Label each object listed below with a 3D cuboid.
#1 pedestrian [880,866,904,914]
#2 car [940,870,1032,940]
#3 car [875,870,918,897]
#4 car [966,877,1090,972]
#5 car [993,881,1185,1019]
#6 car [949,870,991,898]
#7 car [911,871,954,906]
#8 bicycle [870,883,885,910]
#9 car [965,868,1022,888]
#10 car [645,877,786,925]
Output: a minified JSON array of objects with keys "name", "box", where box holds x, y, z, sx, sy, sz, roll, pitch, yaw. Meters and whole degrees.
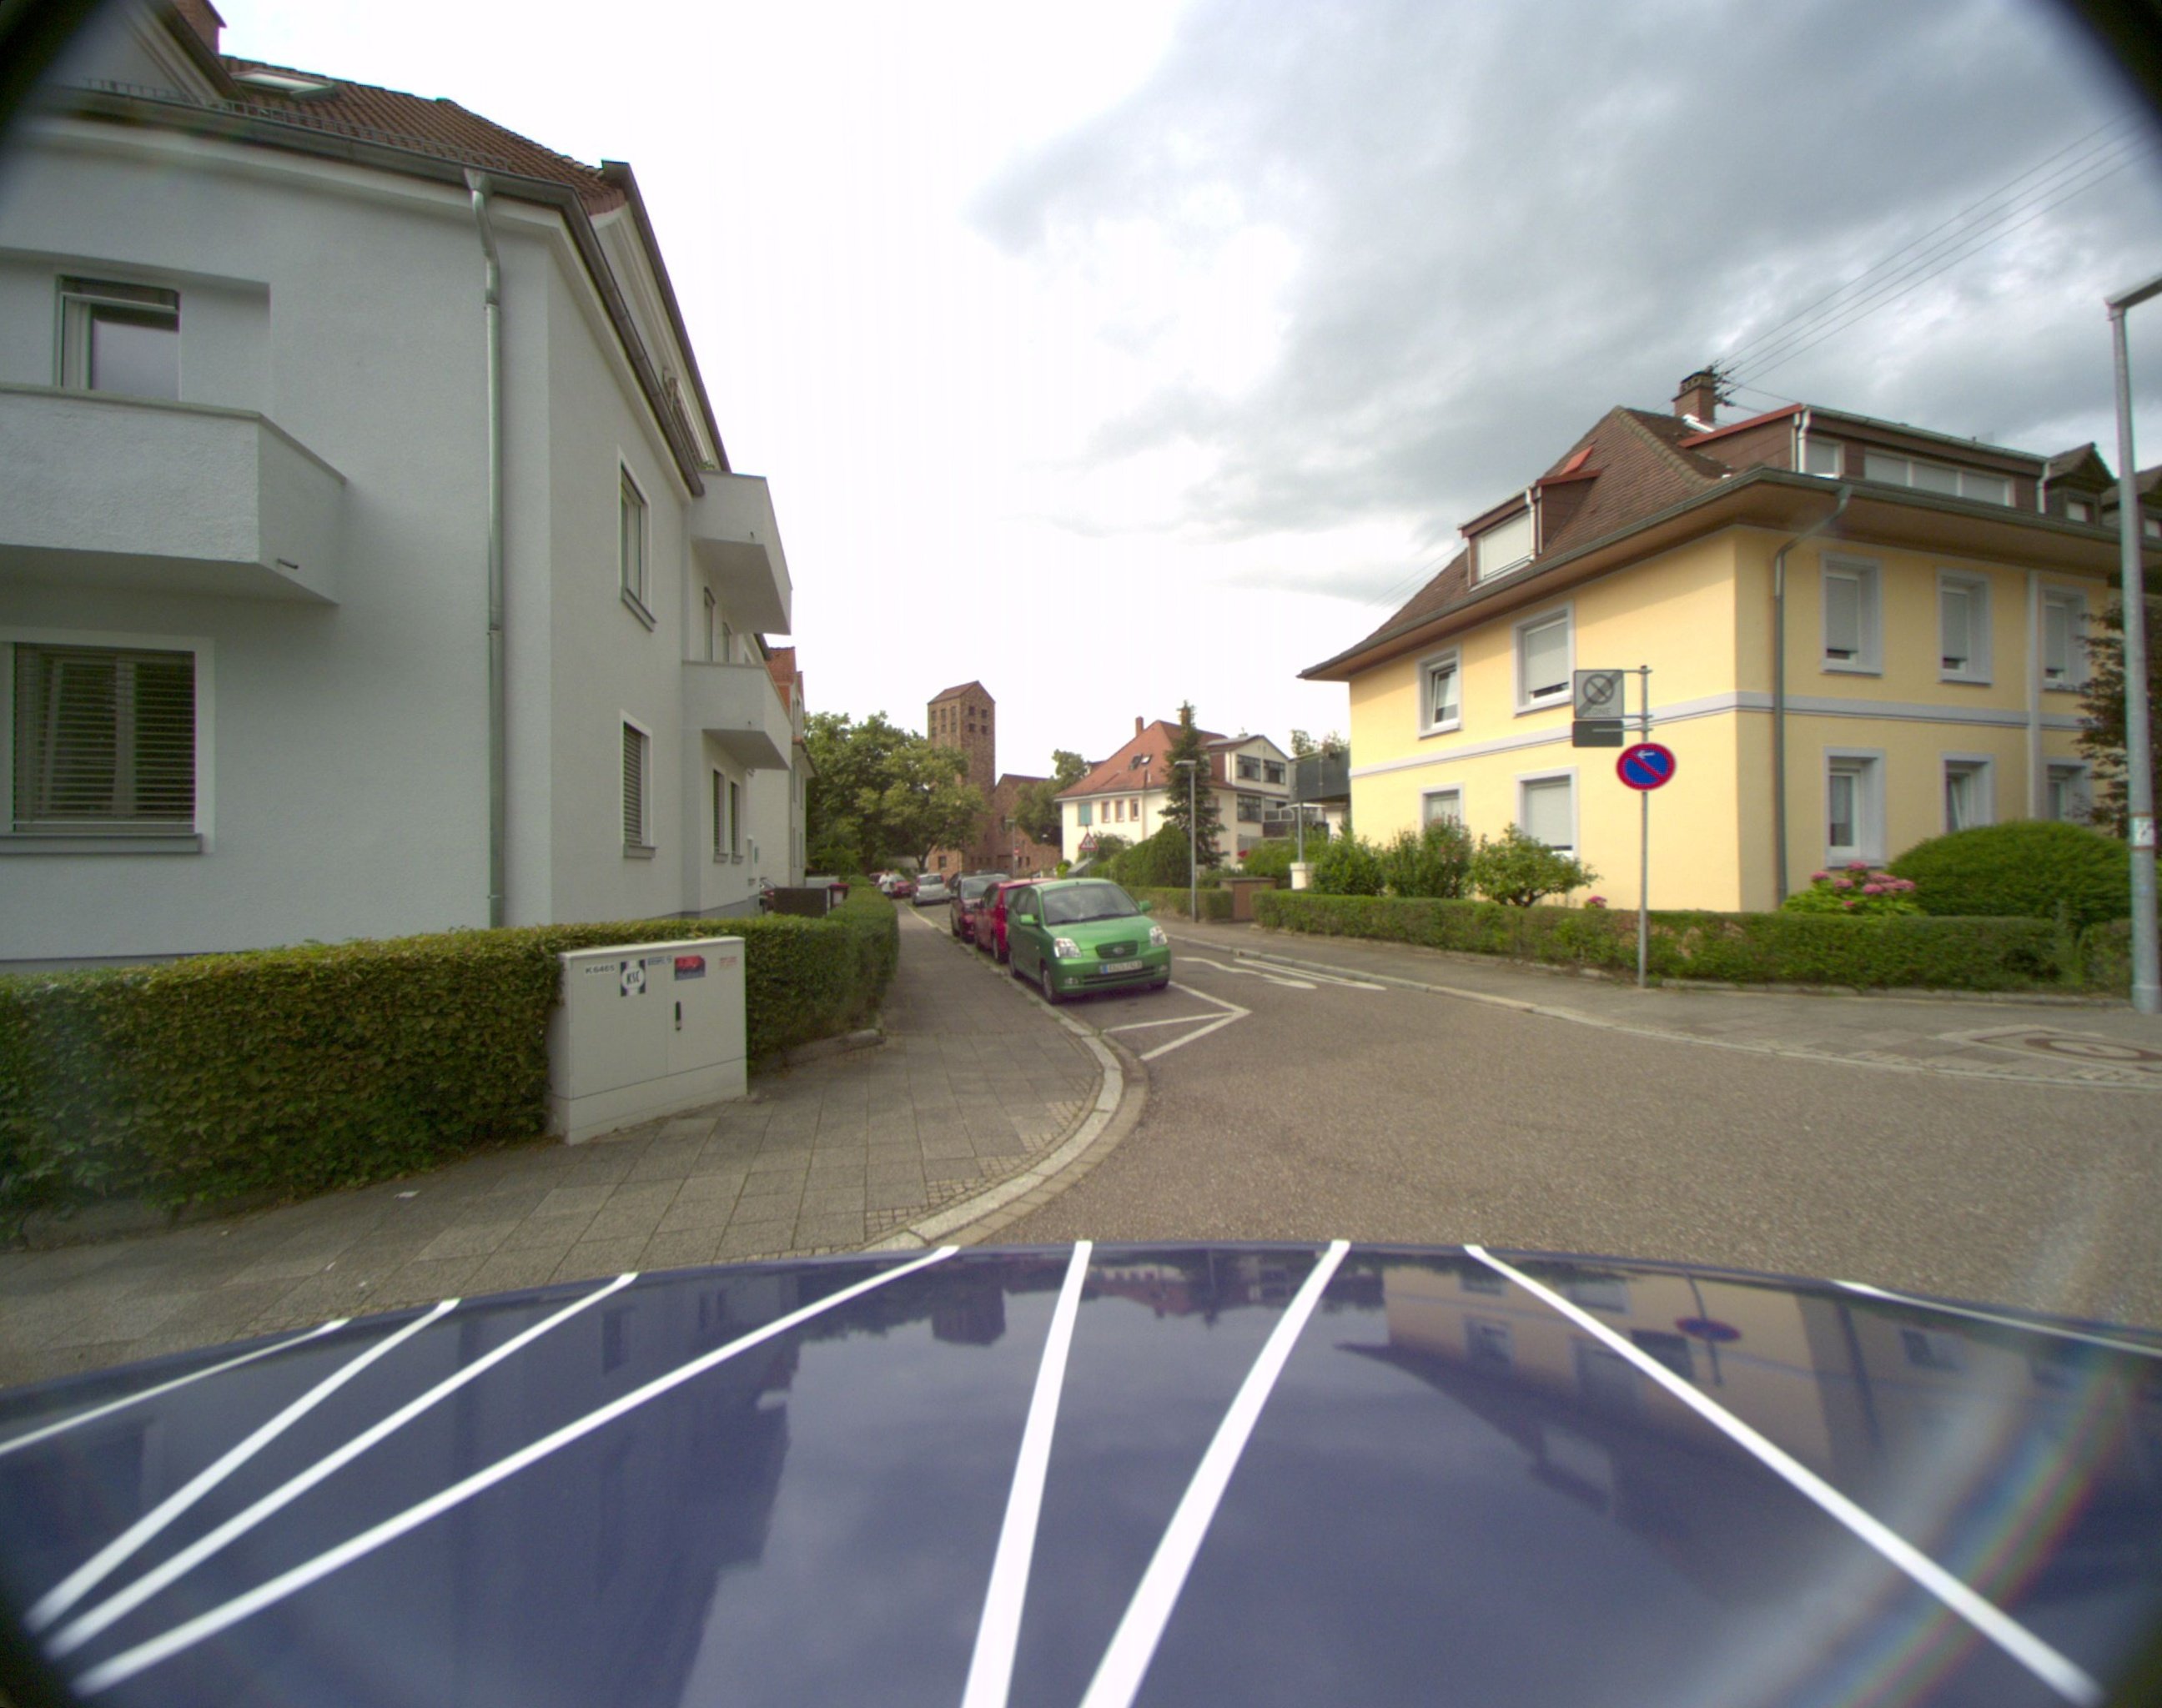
[{"name":"pedestrian","box":[-7.604,1.441,30.562,0.884,1.867,1.077,-1,0,-15]},{"name":"car","box":[-2.490,1.201,19.222,1.652,1.487,3.477,-4,0,-17]},{"name":"car","box":[-11.088,1.747,45.551,1.653,1.487,3.474,-4,0,-27]},{"name":"car","box":[-1.168,1.292,15.095,1.652,1.487,3.477,-4,0,-17]},{"name":"car","box":[-0.061,1.177,10.650,1.652,1.413,3.477,-4,0,-17]},{"name":"car","box":[-6.409,1.692,43.595,1.856,1.472,4.036,2,-1,-16]},{"name":"car","box":[-7.266,1.617,37.003,1.652,1.487,3.477,-4,0,-17]},{"name":"bicycle","box":[-8.852,1.824,33.004,0.423,1.097,2.112,-1,-1,-20]},{"name":"car","box":[-6.853,1.827,59.319,4.230,1.455,1.681,0,1,-16]},{"name":"car","box":[-12.271,1.549,25.782,4.002,1.455,1.998,0,-1,-15]}]
